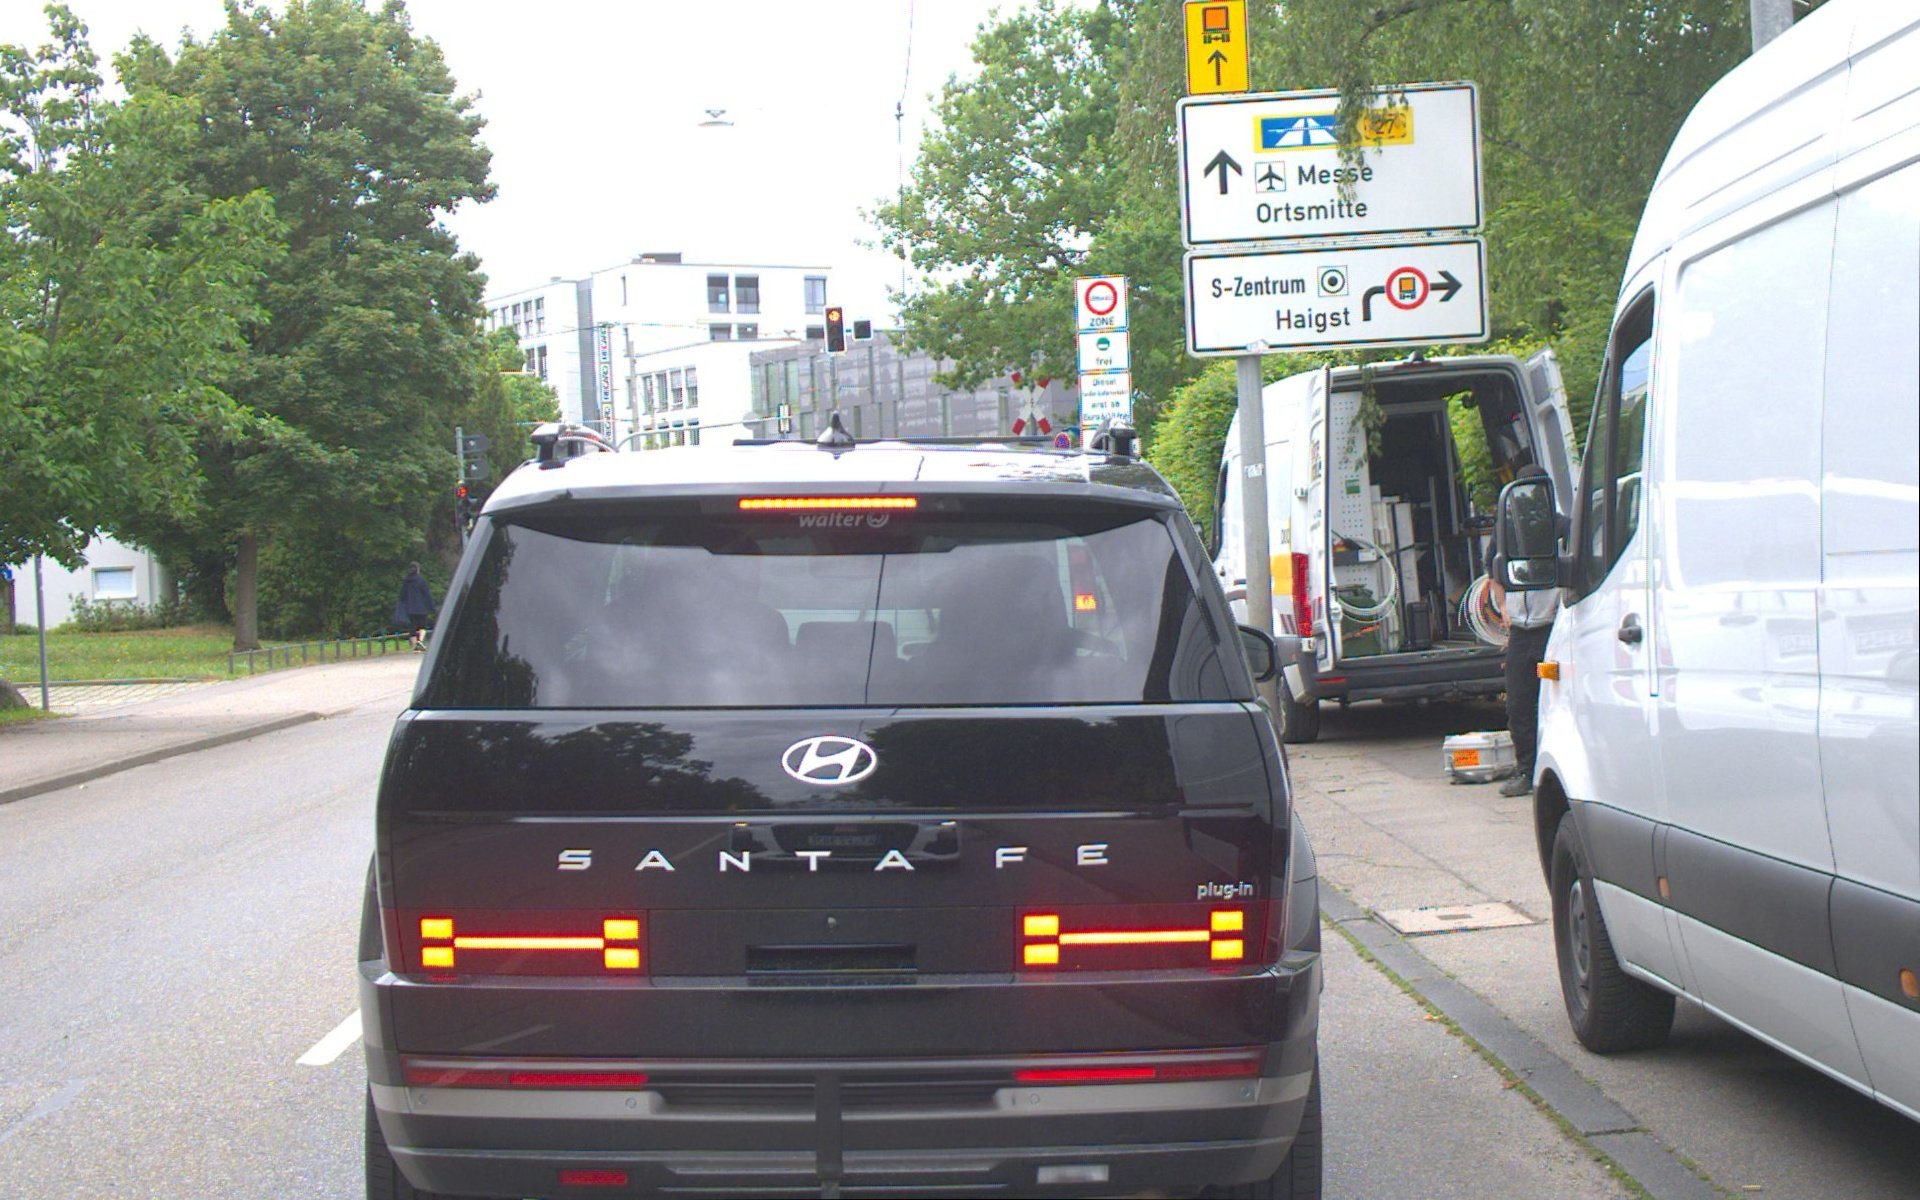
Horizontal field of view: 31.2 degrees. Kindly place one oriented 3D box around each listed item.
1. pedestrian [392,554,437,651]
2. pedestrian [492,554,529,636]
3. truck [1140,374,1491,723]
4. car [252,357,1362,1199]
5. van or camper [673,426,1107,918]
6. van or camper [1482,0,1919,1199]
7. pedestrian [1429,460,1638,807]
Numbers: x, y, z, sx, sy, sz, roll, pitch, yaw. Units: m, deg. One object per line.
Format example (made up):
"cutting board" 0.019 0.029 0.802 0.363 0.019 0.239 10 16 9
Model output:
"pedestrian" -9.795 0.036 61.745 0.738 1.709 0.793 -2 1 -7
"pedestrian" -9.603 -0.109 73.432 0.738 1.709 0.793 -2 1 -7
"truck" 2.852 -0.408 28.846 1.942 2.553 5.217 -3 1 -4
"car" -0.280 0.465 7.875 1.889 1.813 4.000 0 1 -1
"van or camper" -0.315 0.272 16.390 1.754 2.007 4.000 -2 1 -1
"van or camper" 2.634 -0.049 7.034 1.993 2.611 6.541 -2 1 -1
"pedestrian" 3.057 0.166 18.306 0.759 1.791 0.871 -1 1 34
